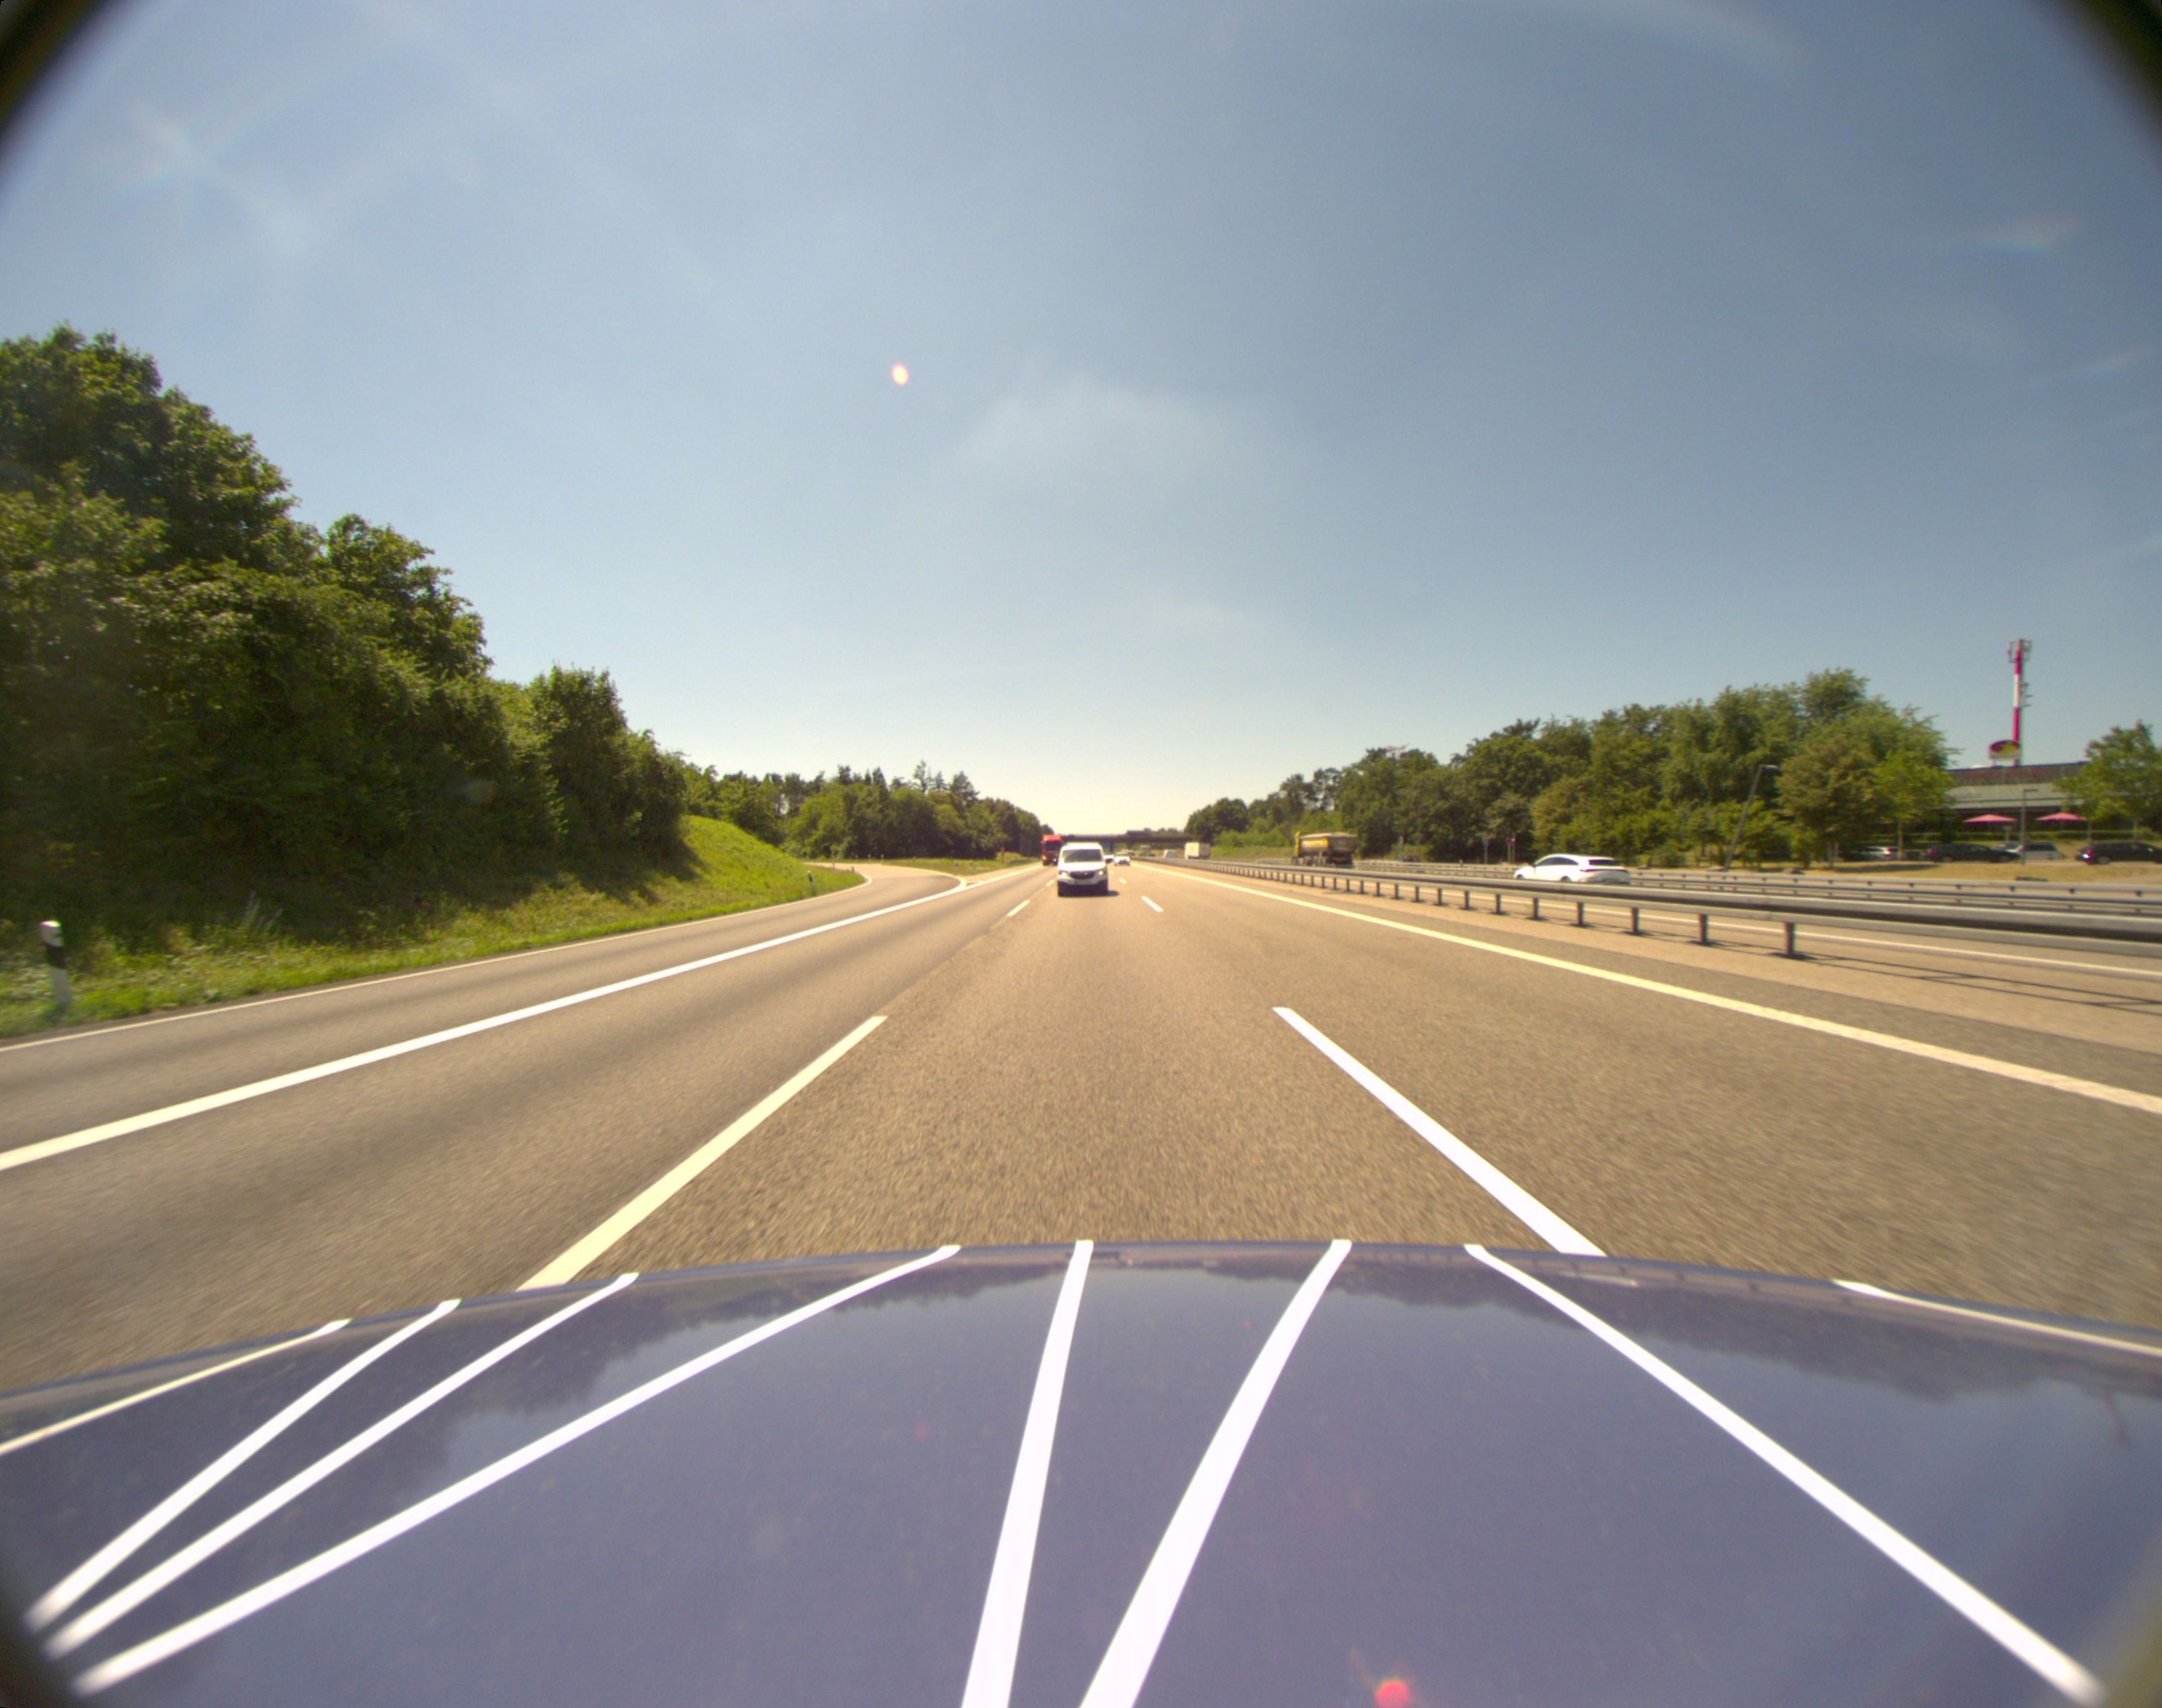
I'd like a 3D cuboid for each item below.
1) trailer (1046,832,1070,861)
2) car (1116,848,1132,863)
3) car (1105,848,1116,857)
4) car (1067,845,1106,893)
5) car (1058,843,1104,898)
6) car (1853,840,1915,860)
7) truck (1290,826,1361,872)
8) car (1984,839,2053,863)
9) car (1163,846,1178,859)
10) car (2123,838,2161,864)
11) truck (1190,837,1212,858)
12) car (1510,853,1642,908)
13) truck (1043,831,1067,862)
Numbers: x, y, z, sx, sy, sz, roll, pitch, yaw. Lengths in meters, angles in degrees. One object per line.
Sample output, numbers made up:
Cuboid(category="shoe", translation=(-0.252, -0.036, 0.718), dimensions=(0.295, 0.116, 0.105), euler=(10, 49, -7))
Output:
Cuboid(category="trailer", translation=(-3.002, -1.019, 100.397), dimensions=(2.540, 3.656, 7.845), euler=(-2, 1, 2))
Cuboid(category="car", translation=(4.724, 0.160, 83.682), dimensions=(1.586, 1.497, 3.793), euler=(-2, 1, 2))
Cuboid(category="car", translation=(4.684, -0.218, 121.579), dimensions=(1.775, 1.410, 3.401), euler=(-2, 1, 2))
Cuboid(category="car", translation=(0.232, 0.548, 30.821), dimensions=(1.413, 1.795, 3.200), euler=(-2, 1, 1))
Cuboid(category="car", translation=(0.017, 0.545, 27.385), dimensions=(1.501, 1.799, 3.394), euler=(-2, 1, 1))
Cuboid(category="car", translation=(75.901, -0.388, 71.867), dimensions=(3.692, 1.762, 1.610), euler=(-2, 1, 28))
Cuboid(category="truck", translation=(22.329, -0.521, 70.080), dimensions=(2.872, 3.792, 11.489), euler=(-2, 1, 1))
Cuboid(category="car", translation=(74.512, -0.236, 60.403), dimensions=(4.016, 1.762, 1.803), euler=(-2, 1, -11))
Cuboid(category="car", translation=(14.710, -0.238, 124.591), dimensions=(1.971, 1.966, 3.982), euler=(-2, 1, 1))
Cuboid(category="car", translation=(77.578, -0.255, 54.082), dimensions=(3.687, 1.762, 1.673), euler=(-2, 1, 28))
Cuboid(category="truck", translation=(27.581, -1.498, 175.292), dimensions=(3.401, 4.387, 11.332), euler=(-2, 1, 1))
Cuboid(category="car", translation=(17.685, 0.882, 27.436), dimensions=(1.810, 1.703, 4.508), euler=(-2, 1, 1))
Cuboid(category="truck", translation=(-3.164, -0.930, 95.286), dimensions=(2.540, 3.656, 5.219), euler=(-2, 1, 2))
